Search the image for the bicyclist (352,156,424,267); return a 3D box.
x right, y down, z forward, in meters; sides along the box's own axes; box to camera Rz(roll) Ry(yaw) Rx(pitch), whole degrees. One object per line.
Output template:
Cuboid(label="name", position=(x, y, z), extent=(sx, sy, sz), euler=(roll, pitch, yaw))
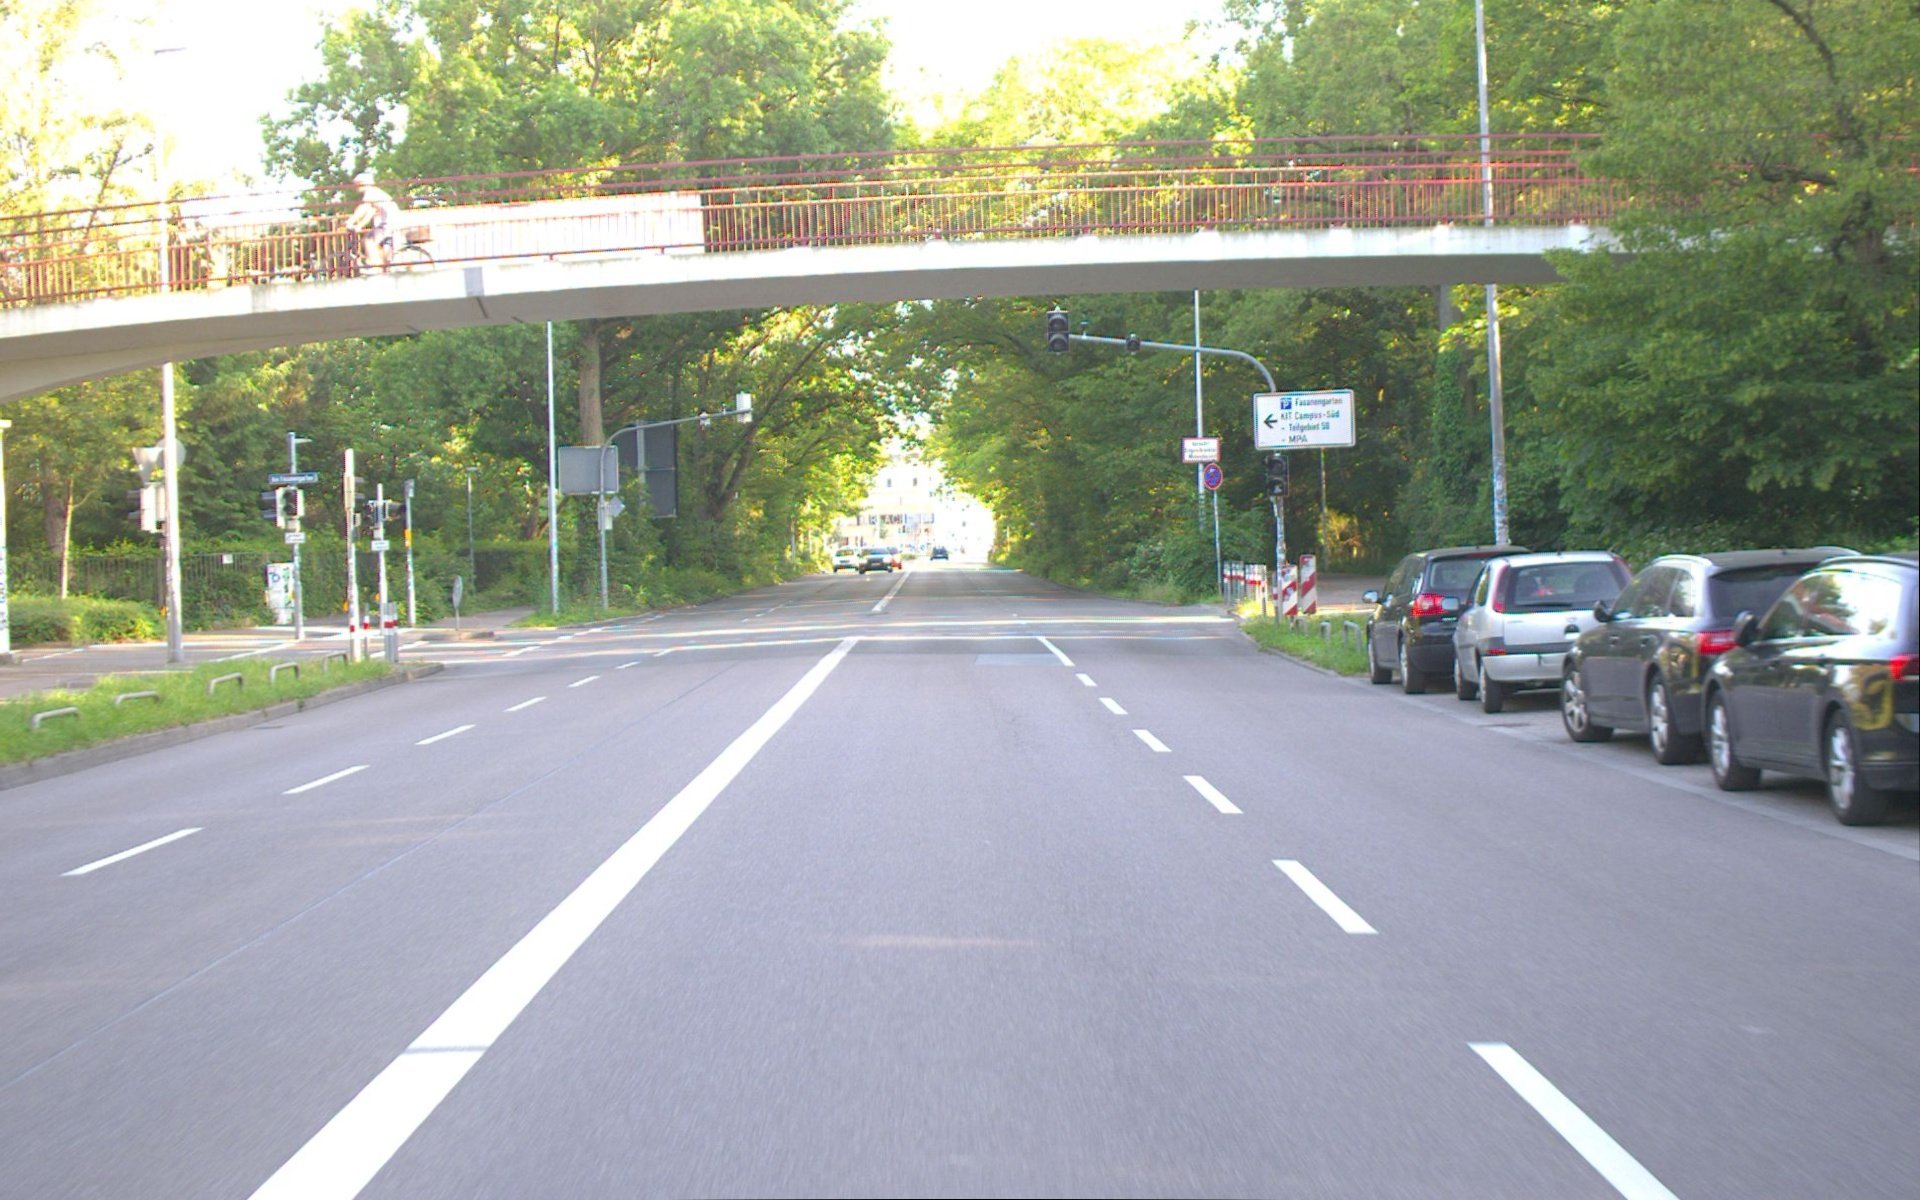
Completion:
Cuboid(label="bicyclist", position=(-8.548, -5.807, 51.411), extent=(0.970, 1.580, 0.714), euler=(0, 0, -2))

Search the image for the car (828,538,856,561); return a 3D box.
Cuboid(label="car", position=(-7.959, -3.402, 232.458), extent=(1.797, 1.501, 4.364), euler=(-2, 1, -1))

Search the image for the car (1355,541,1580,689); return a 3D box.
Cuboid(label="car", position=(5.440, 0.125, 37.351), extent=(1.774, 1.449, 4.388), euler=(-2, 1, 0))

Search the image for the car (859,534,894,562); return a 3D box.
Cuboid(label="car", position=(-4.742, -2.948, 195.595), extent=(1.887, 1.501, 4.364), euler=(-2, 1, -1))

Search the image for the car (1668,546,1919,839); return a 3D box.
Cuboid(label="car", position=(5.540, 0.434, 20.017), extent=(1.637, 1.449, 4.898), euler=(-2, 1, -2))

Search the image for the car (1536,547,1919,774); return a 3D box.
Cuboid(label="car", position=(5.676, 0.372, 25.452), extent=(1.774, 1.449, 5.038), euler=(-2, 1, -2))

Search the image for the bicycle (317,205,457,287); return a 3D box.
Cuboid(label="bicycle", position=(-8.559, -5.289, 51.406), extent=(1.987, 1.143, 0.714), euler=(0, 0, -2))

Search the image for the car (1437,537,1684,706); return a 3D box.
Cuboid(label="car", position=(5.681, 0.164, 32.941), extent=(1.774, 1.449, 4.014), euler=(-2, 1, 3))
